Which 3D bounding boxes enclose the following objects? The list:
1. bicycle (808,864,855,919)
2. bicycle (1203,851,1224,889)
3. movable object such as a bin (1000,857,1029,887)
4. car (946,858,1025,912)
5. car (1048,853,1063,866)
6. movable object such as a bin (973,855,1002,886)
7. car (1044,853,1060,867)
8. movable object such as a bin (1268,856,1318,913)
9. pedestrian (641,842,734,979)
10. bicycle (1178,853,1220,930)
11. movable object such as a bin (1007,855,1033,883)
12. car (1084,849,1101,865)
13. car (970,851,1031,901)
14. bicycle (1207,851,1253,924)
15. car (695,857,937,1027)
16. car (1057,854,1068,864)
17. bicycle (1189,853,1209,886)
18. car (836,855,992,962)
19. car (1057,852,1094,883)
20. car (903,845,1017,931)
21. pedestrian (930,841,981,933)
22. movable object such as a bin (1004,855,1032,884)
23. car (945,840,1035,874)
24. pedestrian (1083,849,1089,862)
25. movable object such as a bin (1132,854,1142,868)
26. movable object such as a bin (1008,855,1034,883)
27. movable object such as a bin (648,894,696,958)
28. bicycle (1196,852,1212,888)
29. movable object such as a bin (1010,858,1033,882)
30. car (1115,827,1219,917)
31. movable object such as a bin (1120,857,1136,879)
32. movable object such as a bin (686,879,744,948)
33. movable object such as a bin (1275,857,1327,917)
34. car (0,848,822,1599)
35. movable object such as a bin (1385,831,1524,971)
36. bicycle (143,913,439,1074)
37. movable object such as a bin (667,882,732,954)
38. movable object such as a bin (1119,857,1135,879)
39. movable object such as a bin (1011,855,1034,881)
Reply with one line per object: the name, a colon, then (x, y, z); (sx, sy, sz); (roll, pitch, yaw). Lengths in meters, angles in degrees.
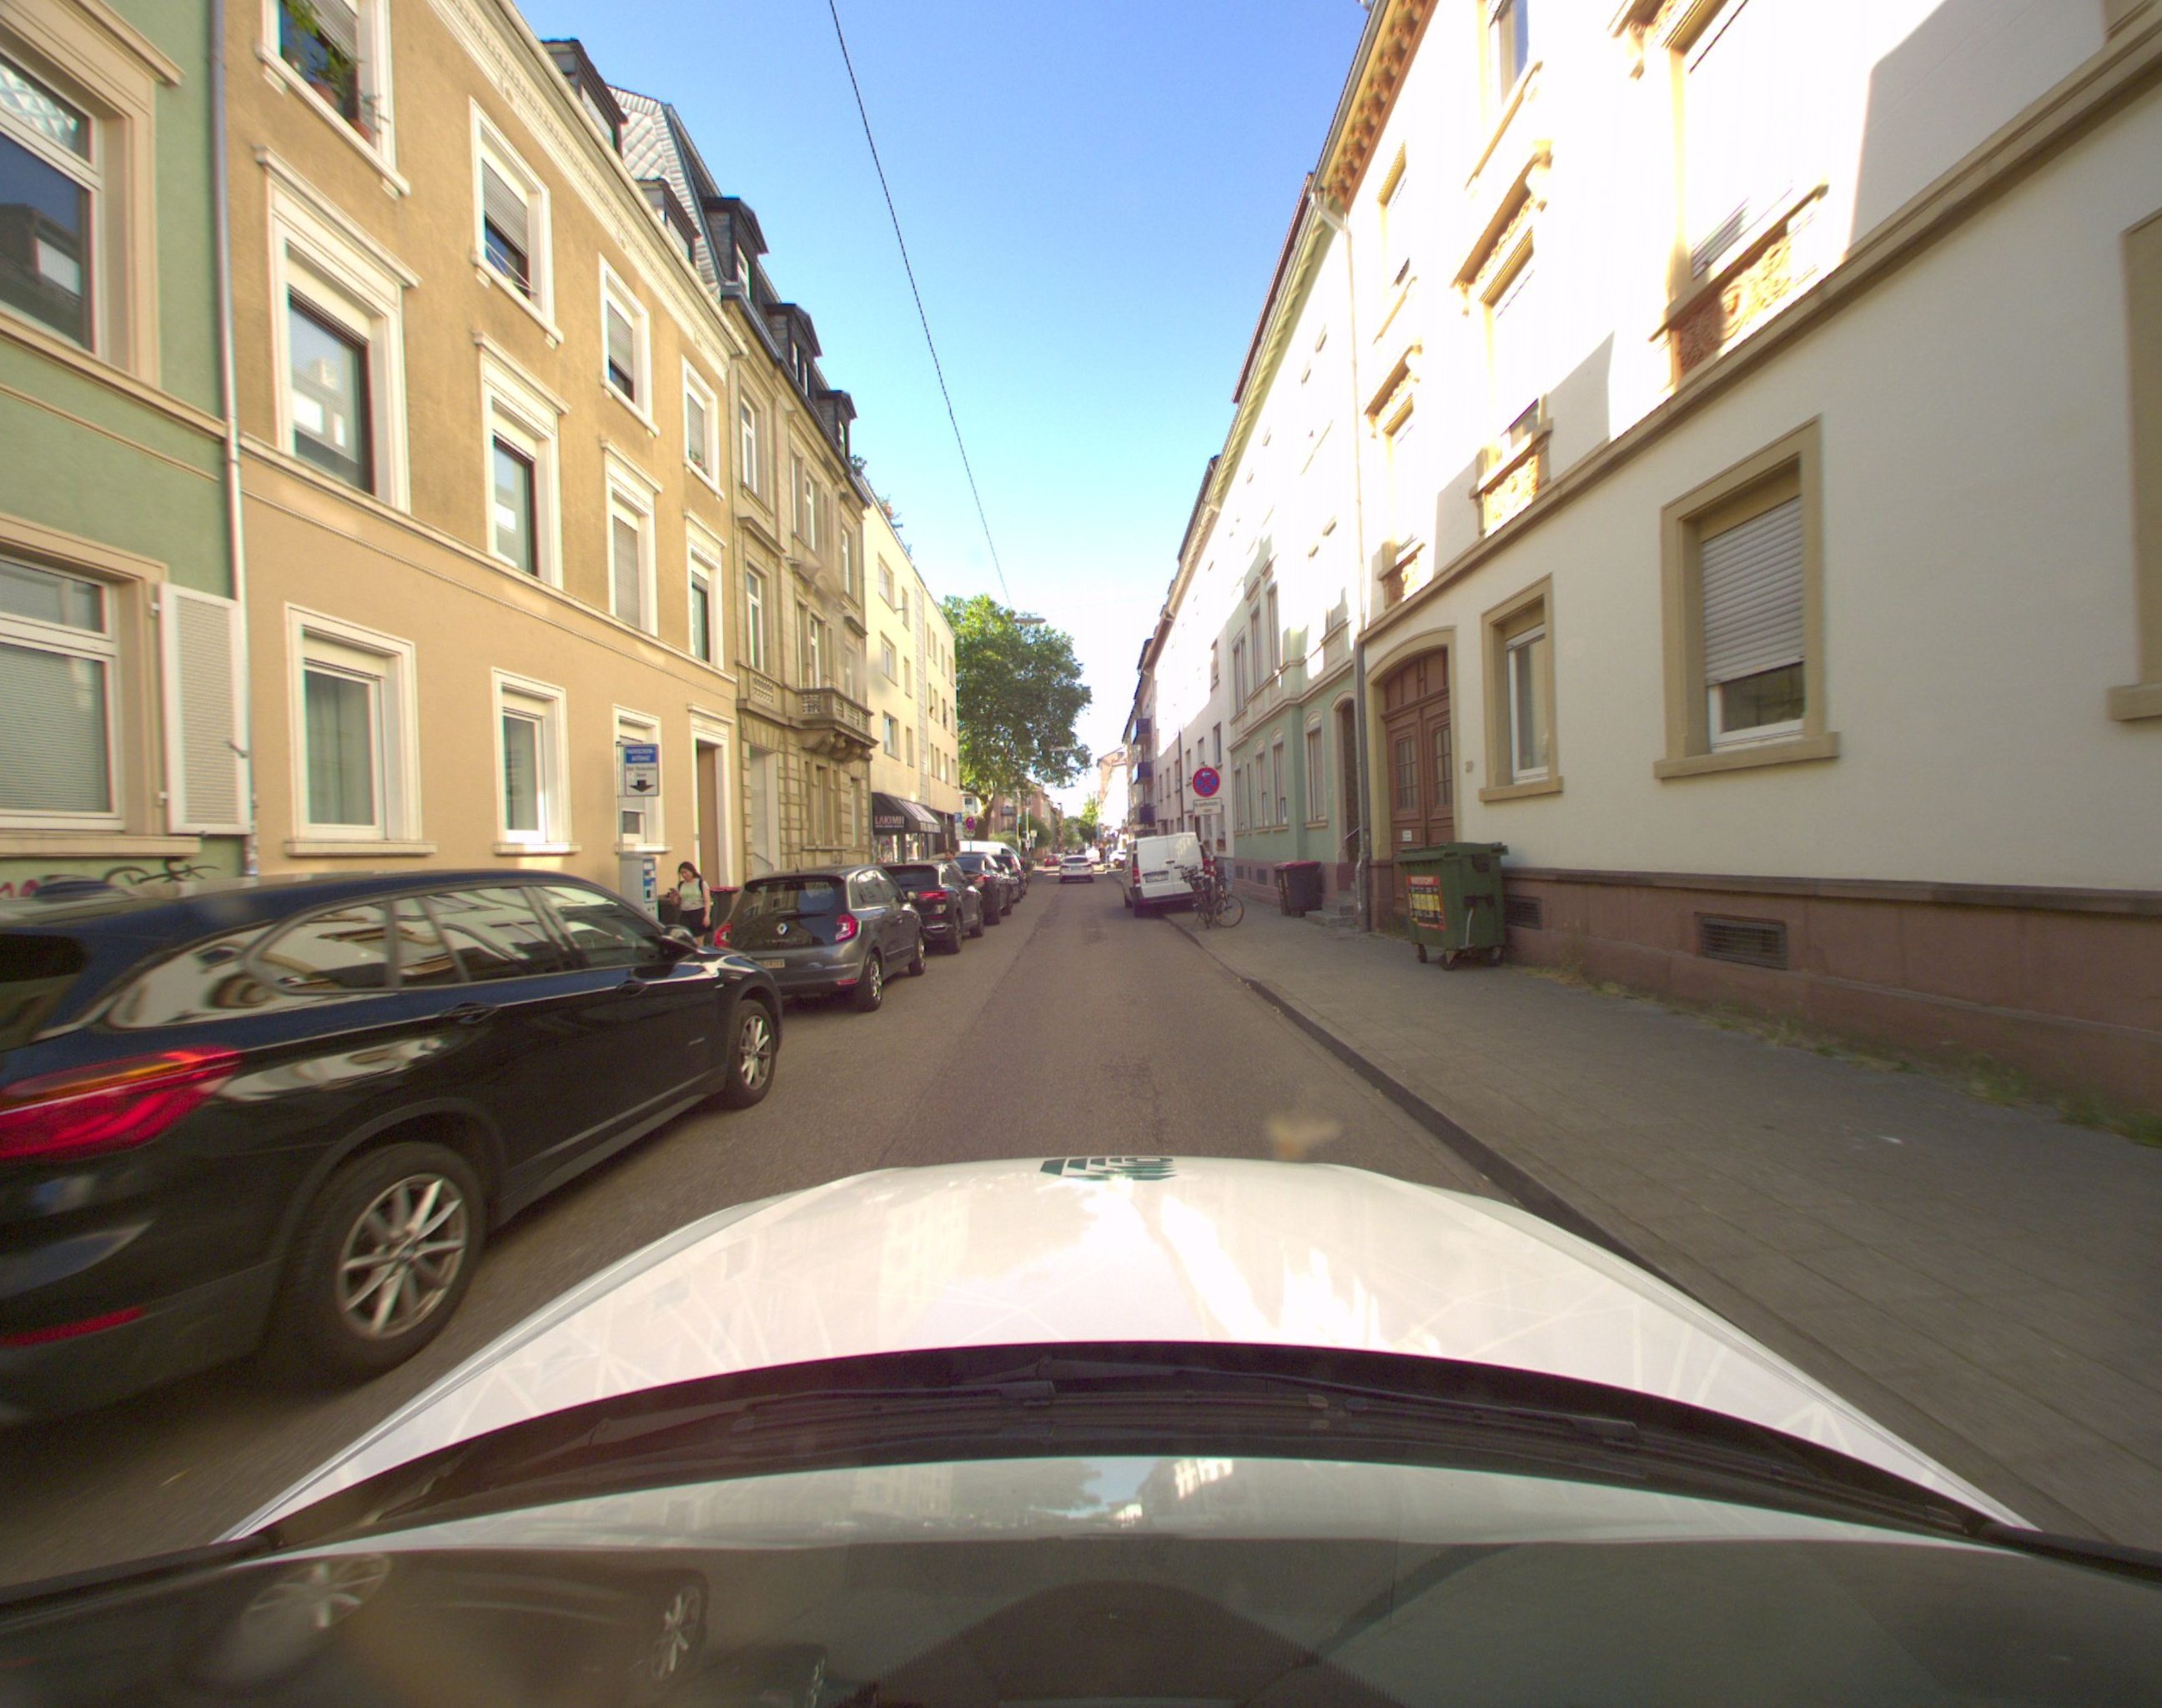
bicycle: (-6.139, 0.895, 20.142); (0.508, 1.277, 1.867); (-2, -1, 2)
bicycle: (4.422, 0.524, 27.257); (0.403, 1.206, 2.161); (-2, -1, 3)
movable object such as a bin: (-3.381, 0.899, 41.563); (1.315, 1.450, 1.187); (-4, -1, 0)
car: (-2.934, 0.918, 25.950); (1.839, 1.417, 4.817); (-4, -1, 0)
car: (-3.382, 0.697, 106.570); (1.714, 1.682, 3.726); (-2, 0, 1)
movable object such as a bin: (-4.783, 0.825, 41.556); (1.292, 1.498, 1.178); (-2, -1, 0)
car: (-3.588, 0.742, 100.970); (1.764, 1.588, 3.725); (-2, 1, -1)
movable object such as a bin: (4.269, 0.611, 16.428); (0.809, 1.088, 0.674); (-2, -1, 2)
pedestrian: (-5.149, 0.712, 10.707); (0.762, 1.714, 0.883); (-1, 0, -1)
bicycle: (2.225, 0.660, 15.564); (0.572, 1.320, 2.201); (-3, 0, 4)
movable object such as a bin: (-3.359, 0.832, 44.818); (1.339, 1.499, 1.018); (-2, -1, -1)
car: (1.470, 0.388, 104.231); (1.938, 1.948, 4.074); (-1, 0, -2)
car: (-3.004, 0.788, 31.330); (1.777, 1.666, 4.670); (-4, 0, 0)
bicycle: (2.876, 0.604, 15.892); (0.572, 1.271, 2.202); (-4, 0, 4)
car: (-2.911, 0.857, 9.868); (1.611, 1.553, 3.976); (-2, 0, -1)
car: (-3.078, 0.853, 133.190); (1.567, 1.585, 3.611); (-2, -1, 1)
bicycle: (4.300, 0.563, 29.681); (0.566, 1.153, 1.870); (-2, -1, 5)
car: (-2.792, 0.833, 14.636); (1.707, 1.531, 4.368); (-3, 0, 2)
car: (-0.311, 0.673, 43.414); (1.818, 1.514, 3.822); (-2, 0, -1)
car: (-2.815, 0.734, 20.154); (1.930, 1.736, 5.141); (-3, 0, 0)
pedestrian: (-2.634, 0.678, 17.143); (0.863, 1.836, 0.883); (-2, -1, 0)
movable object such as a bin: (-3.381, 0.816, 43.782); (1.344, 1.487, 1.003); (-2, -1, -1)
car: (-7.135, 0.250, 64.189); (6.714, 2.555, 2.146); (1, -1, 1)
pedestrian: (0.829, 0.312, 134.214); (0.768, 2.118, 0.835); (-2, -1, 1)
movable object such as a bin: (4.236, 0.517, 61.668); (0.699, 1.073, 0.597); (-2, -1, 1)
movable object such as a bin: (-3.373, 0.849, 45.886); (1.330, 1.491, 1.081); (-2, -1, -1)
movable object such as a bin: (-6.417, 1.120, 12.792); (0.471, 0.937, 0.560); (-1, 0, -2)
bicycle: (4.307, 0.543, 28.592); (0.435, 1.206, 2.270); (-2, -1, 7)
movable object such as a bin: (-3.414, 0.914, 46.976); (1.237, 1.322, 1.045); (-2, -1, 0)
car: (2.103, 0.402, 21.526); (1.977, 1.883, 5.598); (-6, 0, 0)
movable object such as a bin: (2.382, 0.712, 41.472); (0.729, 1.081, 0.703); (-2, -1, 1)
movable object such as a bin: (-6.338, 1.022, 14.144); (0.718, 1.132, 0.584); (-2, -1, -4)
movable object such as a bin: (4.244, 0.624, 15.756); (0.794, 1.096, 0.642); (-2, -1, 2)
car: (-2.984, 0.835, 4.073); (1.738, 1.615, 4.604); (-3, 0, 1)
movable object such as a bin: (4.149, 0.508, 9.163); (0.835, 1.389, 1.296); (-5, -2, -1)
bicycle: (-6.473, 1.079, 6.844); (0.359, 1.028, 1.922); (-2, -1, 10)
movable object such as a bin: (-6.322, 1.047, 13.523); (0.734, 1.089, 0.682); (-2, 1, -4)
movable object such as a bin: (2.377, 0.726, 42.185); (0.765, 1.086, 0.693); (-2, -1, 1)
movable object such as a bin: (-3.444, 0.835, 48.075); (1.297, 1.451, 1.116); (-2, -1, -4)
